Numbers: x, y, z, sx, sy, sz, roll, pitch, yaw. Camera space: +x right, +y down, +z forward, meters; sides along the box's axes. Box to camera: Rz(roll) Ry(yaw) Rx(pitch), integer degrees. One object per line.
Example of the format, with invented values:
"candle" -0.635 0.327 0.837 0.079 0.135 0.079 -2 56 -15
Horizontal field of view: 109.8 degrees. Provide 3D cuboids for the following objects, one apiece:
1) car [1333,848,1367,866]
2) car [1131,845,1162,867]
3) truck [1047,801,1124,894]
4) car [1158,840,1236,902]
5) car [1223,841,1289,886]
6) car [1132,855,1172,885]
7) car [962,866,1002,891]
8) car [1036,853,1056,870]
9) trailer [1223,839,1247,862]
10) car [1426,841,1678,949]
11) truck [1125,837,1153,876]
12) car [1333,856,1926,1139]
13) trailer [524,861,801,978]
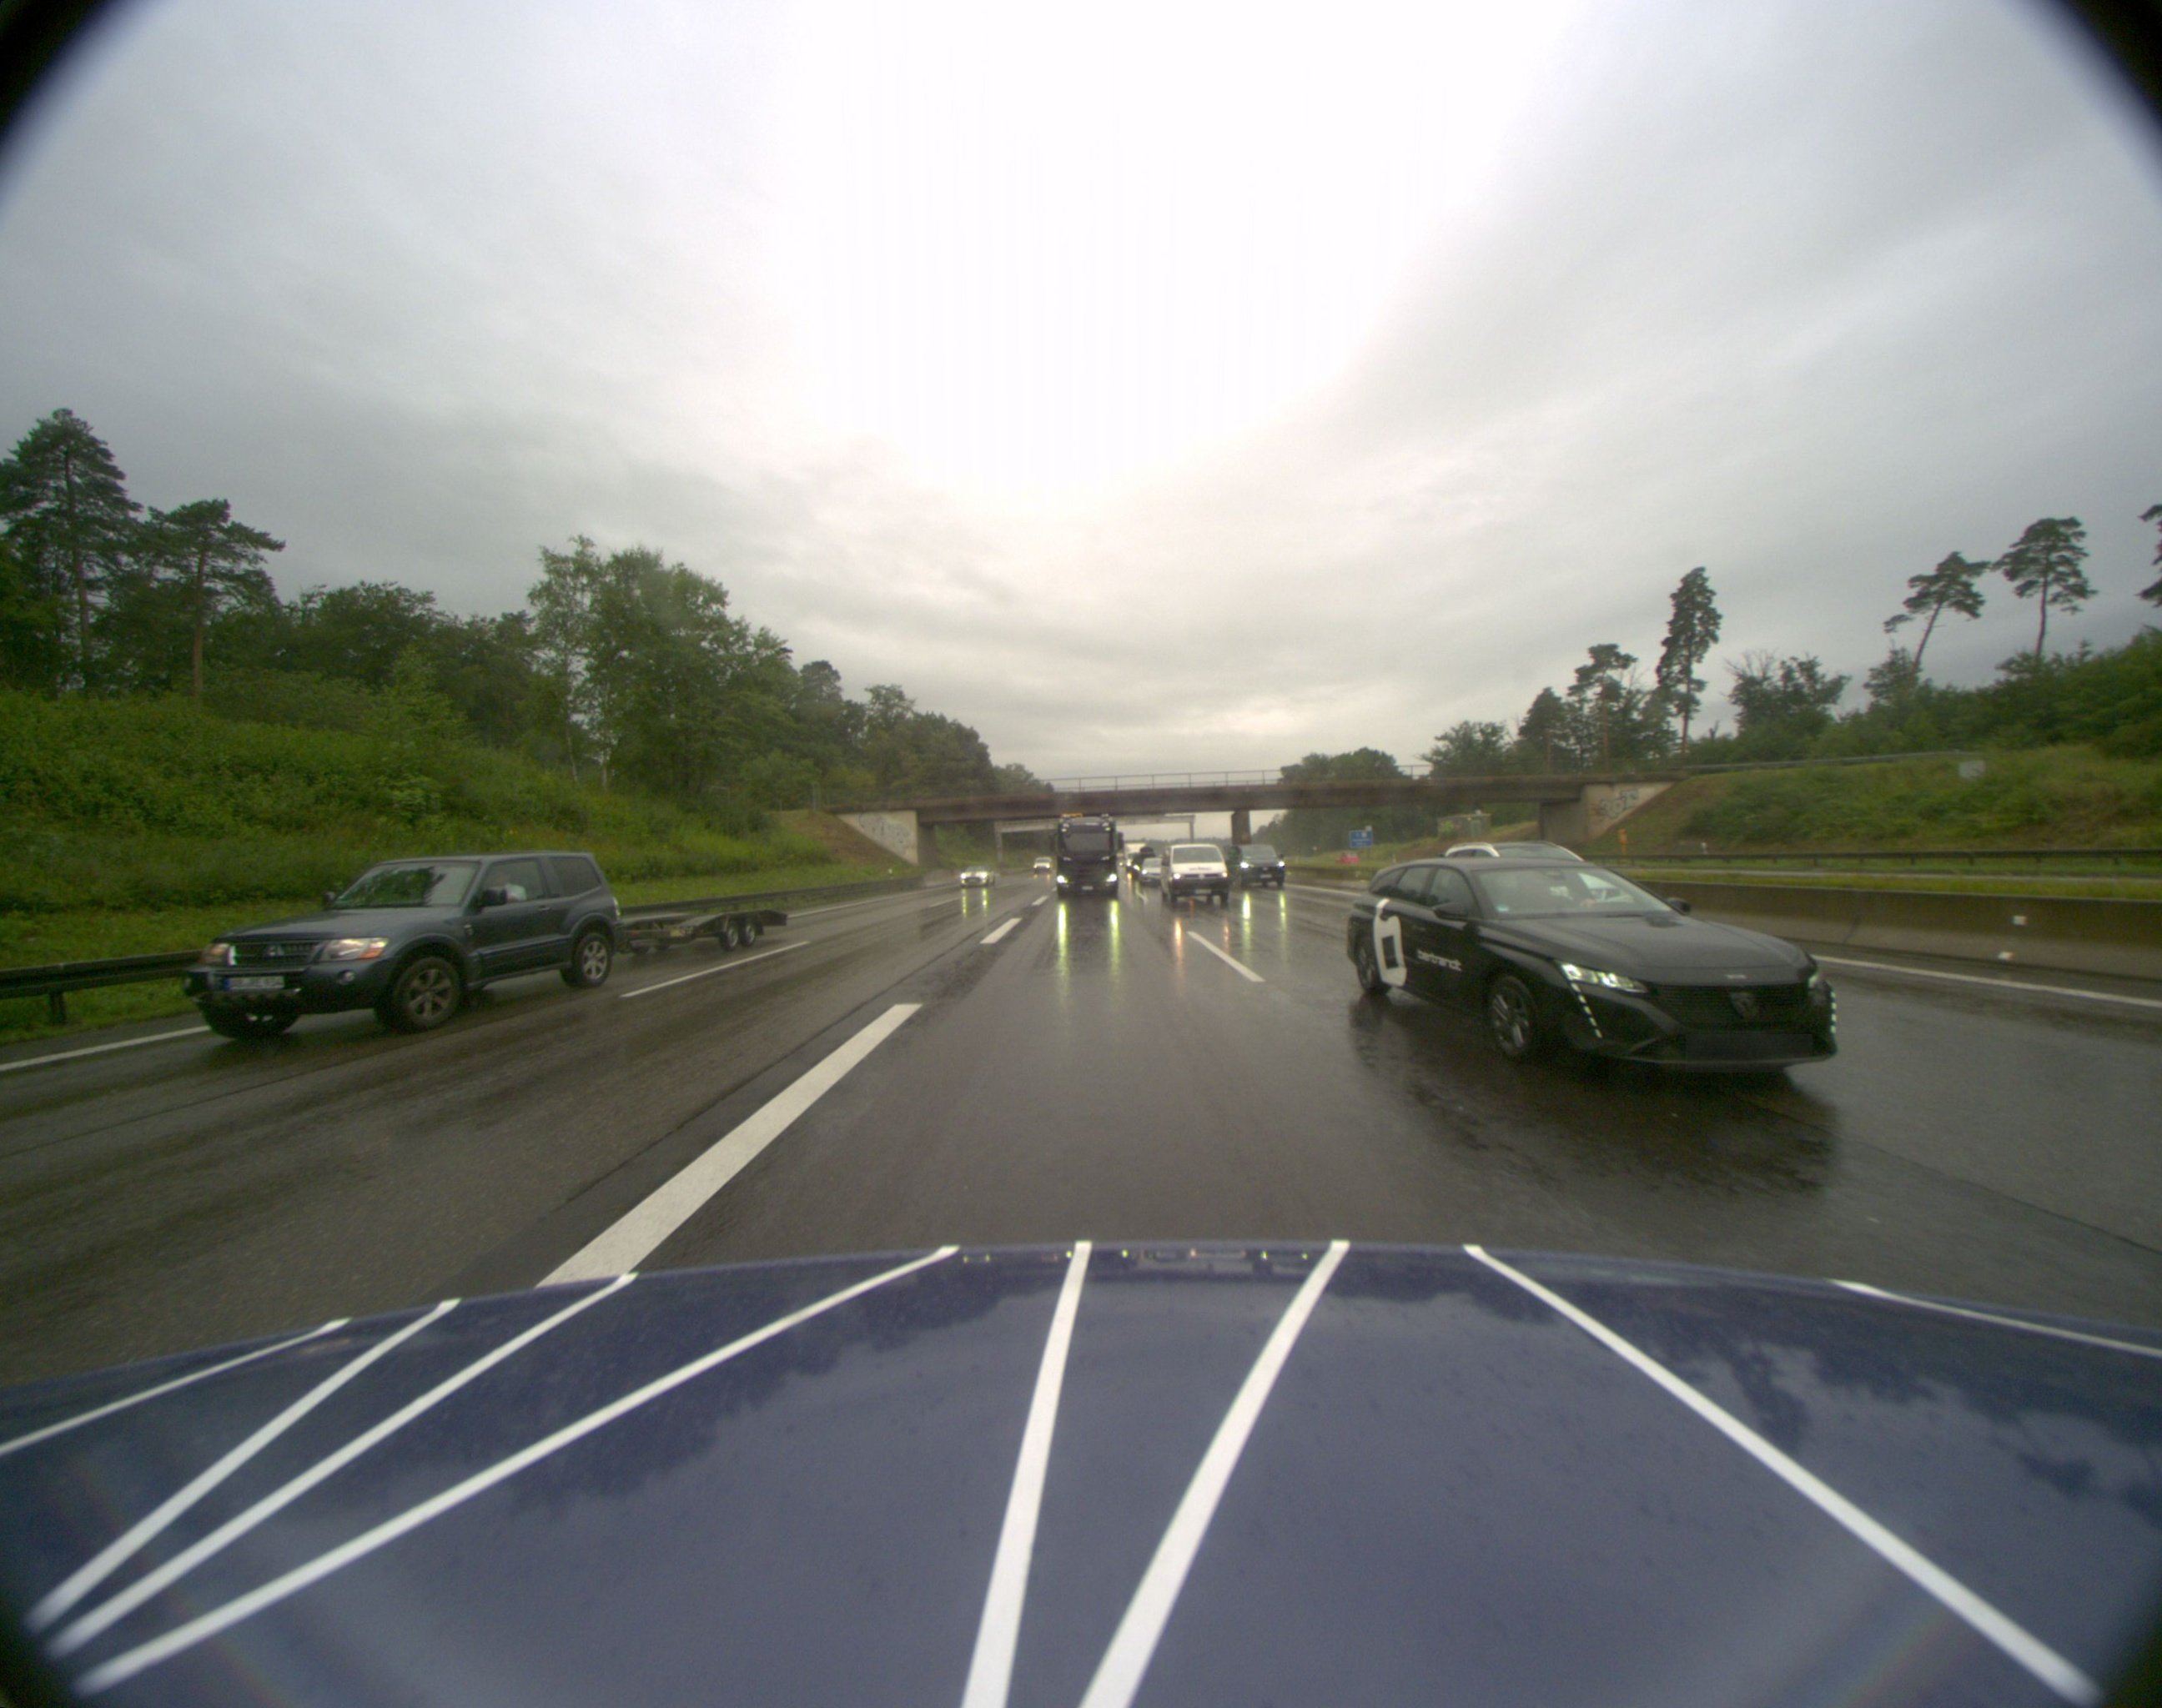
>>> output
"car" 25.808 0.293 73.023 1.850 1.582 3.944 -2 0 1
"car" 4.836 0.147 56.748 1.994 1.551 4.767 -2 0 2
"truck" 0.345 -0.315 35.292 2.879 3.528 10.911 -2 1 2
"car" 3.848 0.527 26.014 1.995 1.869 4.767 -2 0 1
"car" 8.260 0.401 36.364 1.996 1.932 5.243 -2 0 2
"car" 3.874 0.838 42.064 1.850 1.496 4.466 -2 0 1
"car" -6.260 1.503 48.442 1.795 1.399 4.228 -2 0 2
"car" -4.298 0.891 92.875 1.994 1.909 4.767 -2 0 2
"trailer" 32.861 -0.730 162.541 3.213 4.785 13.349 -2 0 4
"car" 8.203 0.630 13.829 1.850 1.582 4.466 -2 0 1
"truck" 6.217 0.291 82.477 2.521 3.941 6.994 -2 0 1
"car" 3.784 0.811 6.453 1.850 1.495 4.466 -2 0 1
"trailer" -7.469 1.046 14.387 2.248 1.704 5.082 -2 0 2
